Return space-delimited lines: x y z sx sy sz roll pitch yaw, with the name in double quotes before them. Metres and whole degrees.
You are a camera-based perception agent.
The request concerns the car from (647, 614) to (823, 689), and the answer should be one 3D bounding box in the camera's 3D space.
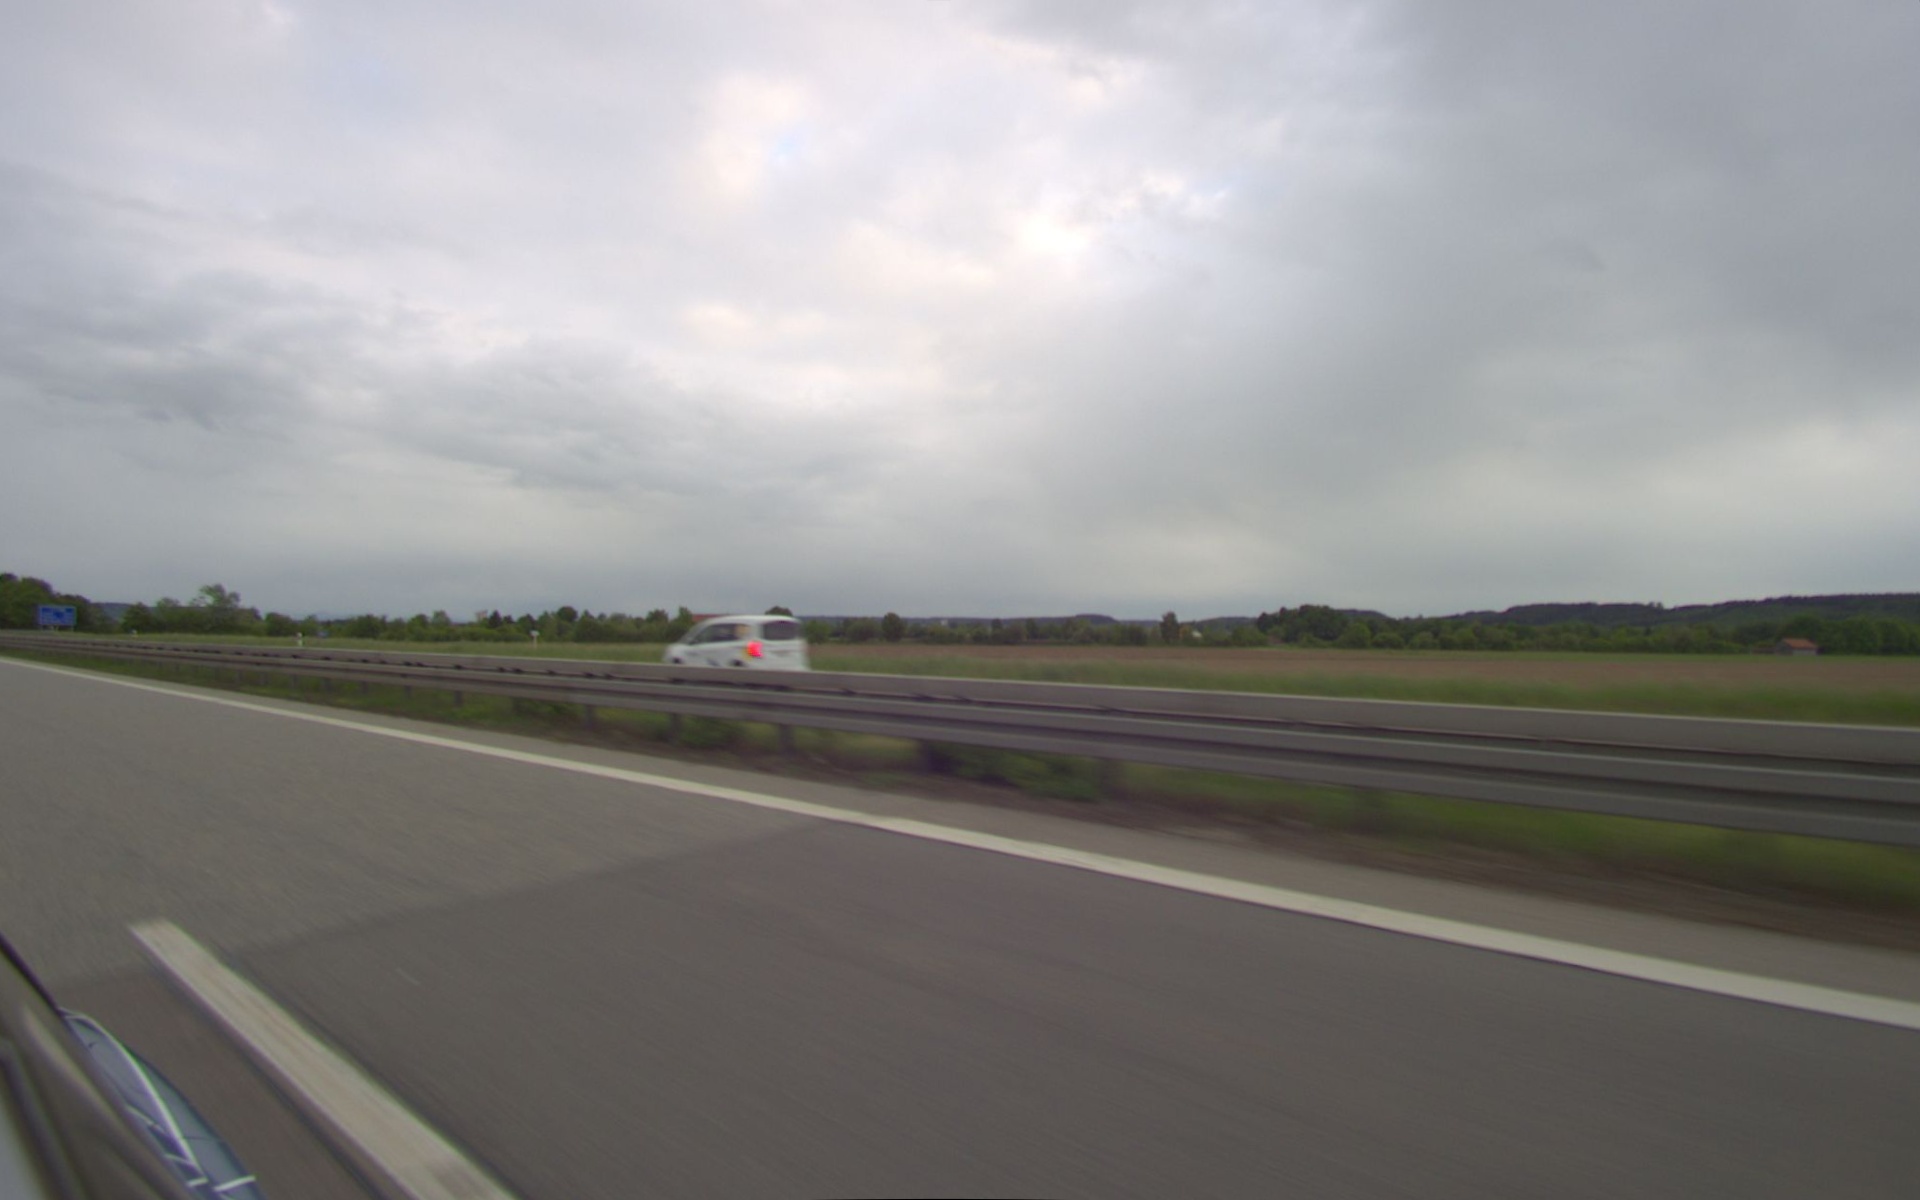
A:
"car" -6.034 1.285 26.788 4.949 1.778 1.973 -1 -1 41
